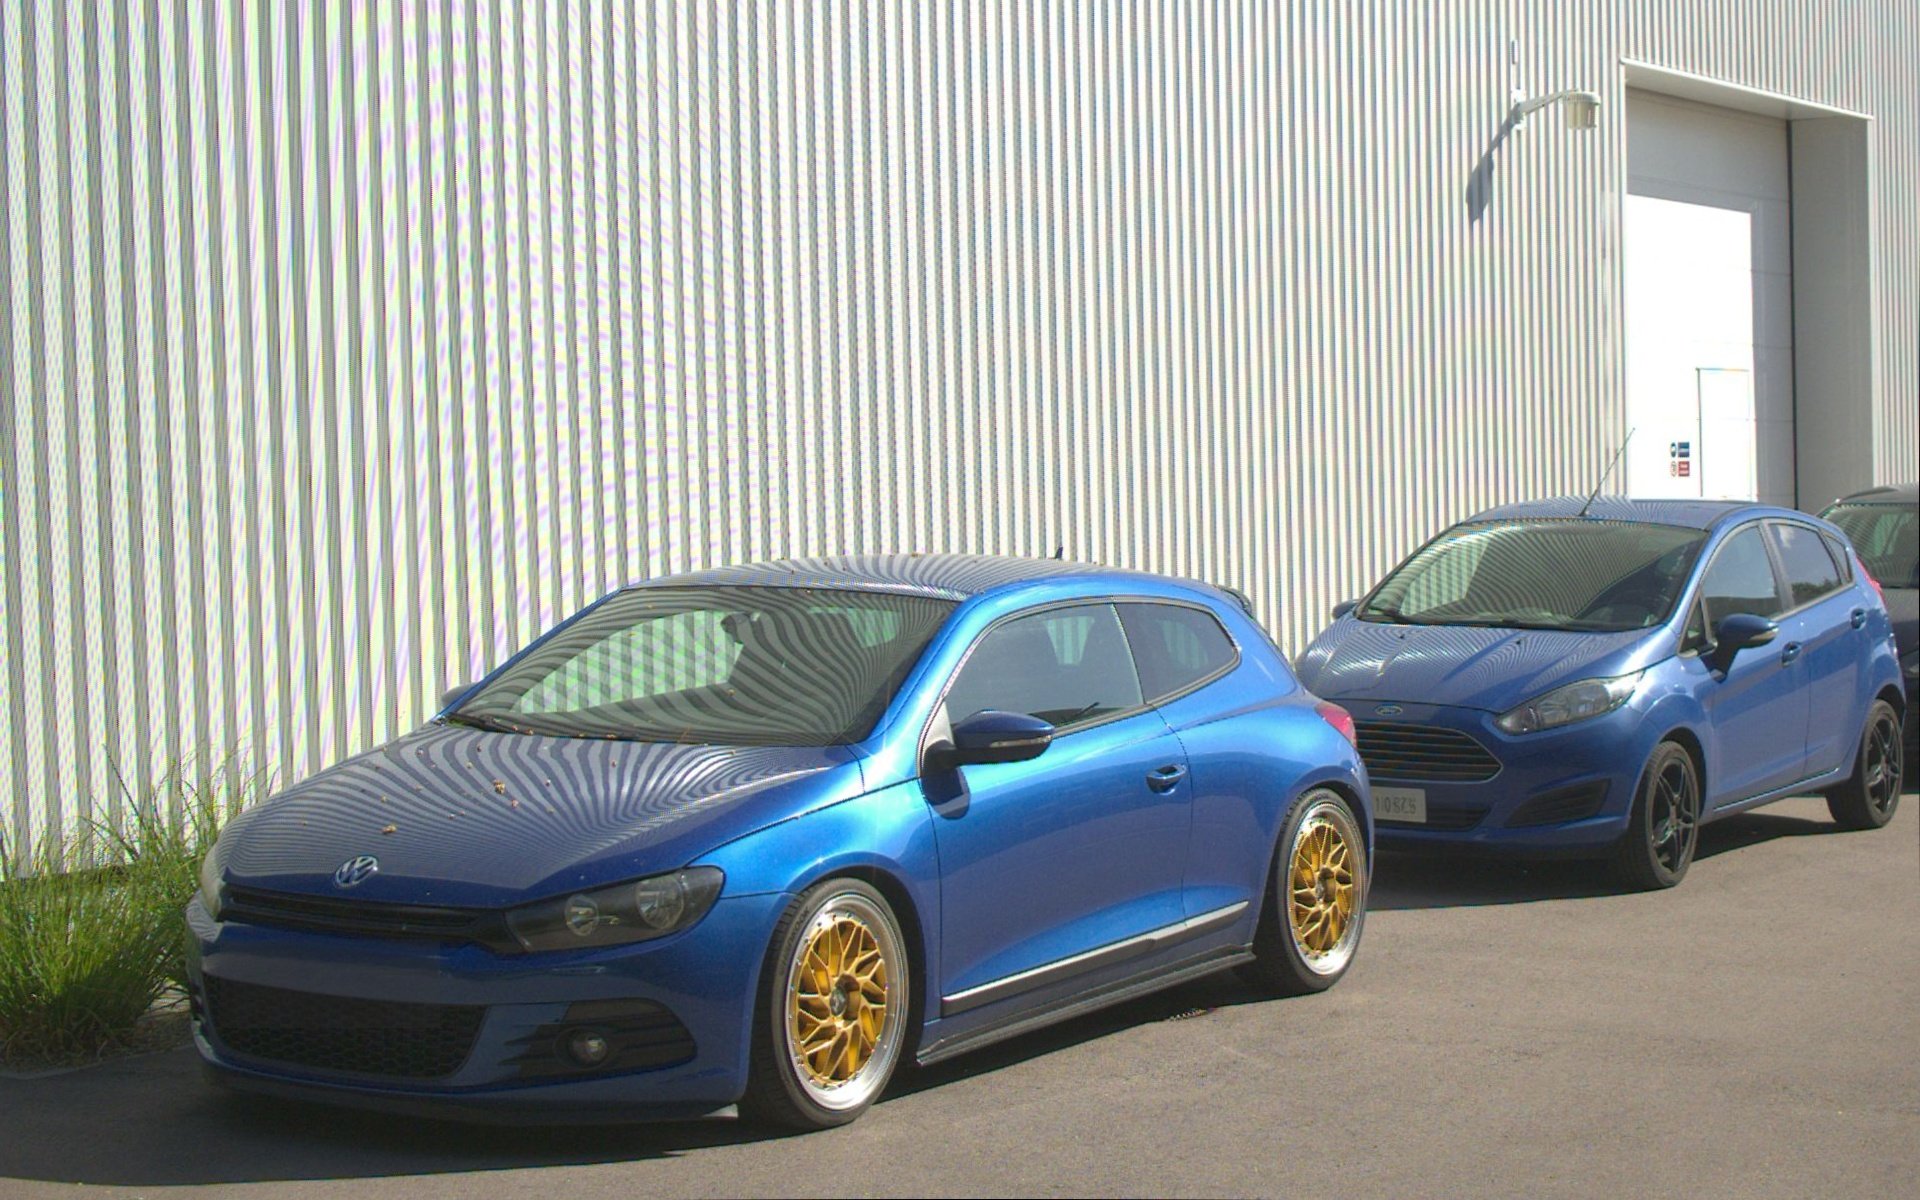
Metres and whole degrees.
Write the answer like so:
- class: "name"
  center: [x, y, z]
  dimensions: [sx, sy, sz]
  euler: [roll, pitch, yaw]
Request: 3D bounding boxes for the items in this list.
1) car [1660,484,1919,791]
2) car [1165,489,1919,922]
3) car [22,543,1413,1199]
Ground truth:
- class: "car"
  center: [5.312, 0.122, 18.382]
  dimensions: [1.753, 1.413, 3.891]
  euler: [3, 4, 33]
- class: "car"
  center: [2.588, 0.309, 14.331]
  dimensions: [1.753, 1.468, 3.891]
  euler: [3, 4, 33]
- class: "car"
  center: [-0.425, 0.567, 9.705]
  dimensions: [1.753, 1.379, 4.161]
  euler: [0, 2, 33]
